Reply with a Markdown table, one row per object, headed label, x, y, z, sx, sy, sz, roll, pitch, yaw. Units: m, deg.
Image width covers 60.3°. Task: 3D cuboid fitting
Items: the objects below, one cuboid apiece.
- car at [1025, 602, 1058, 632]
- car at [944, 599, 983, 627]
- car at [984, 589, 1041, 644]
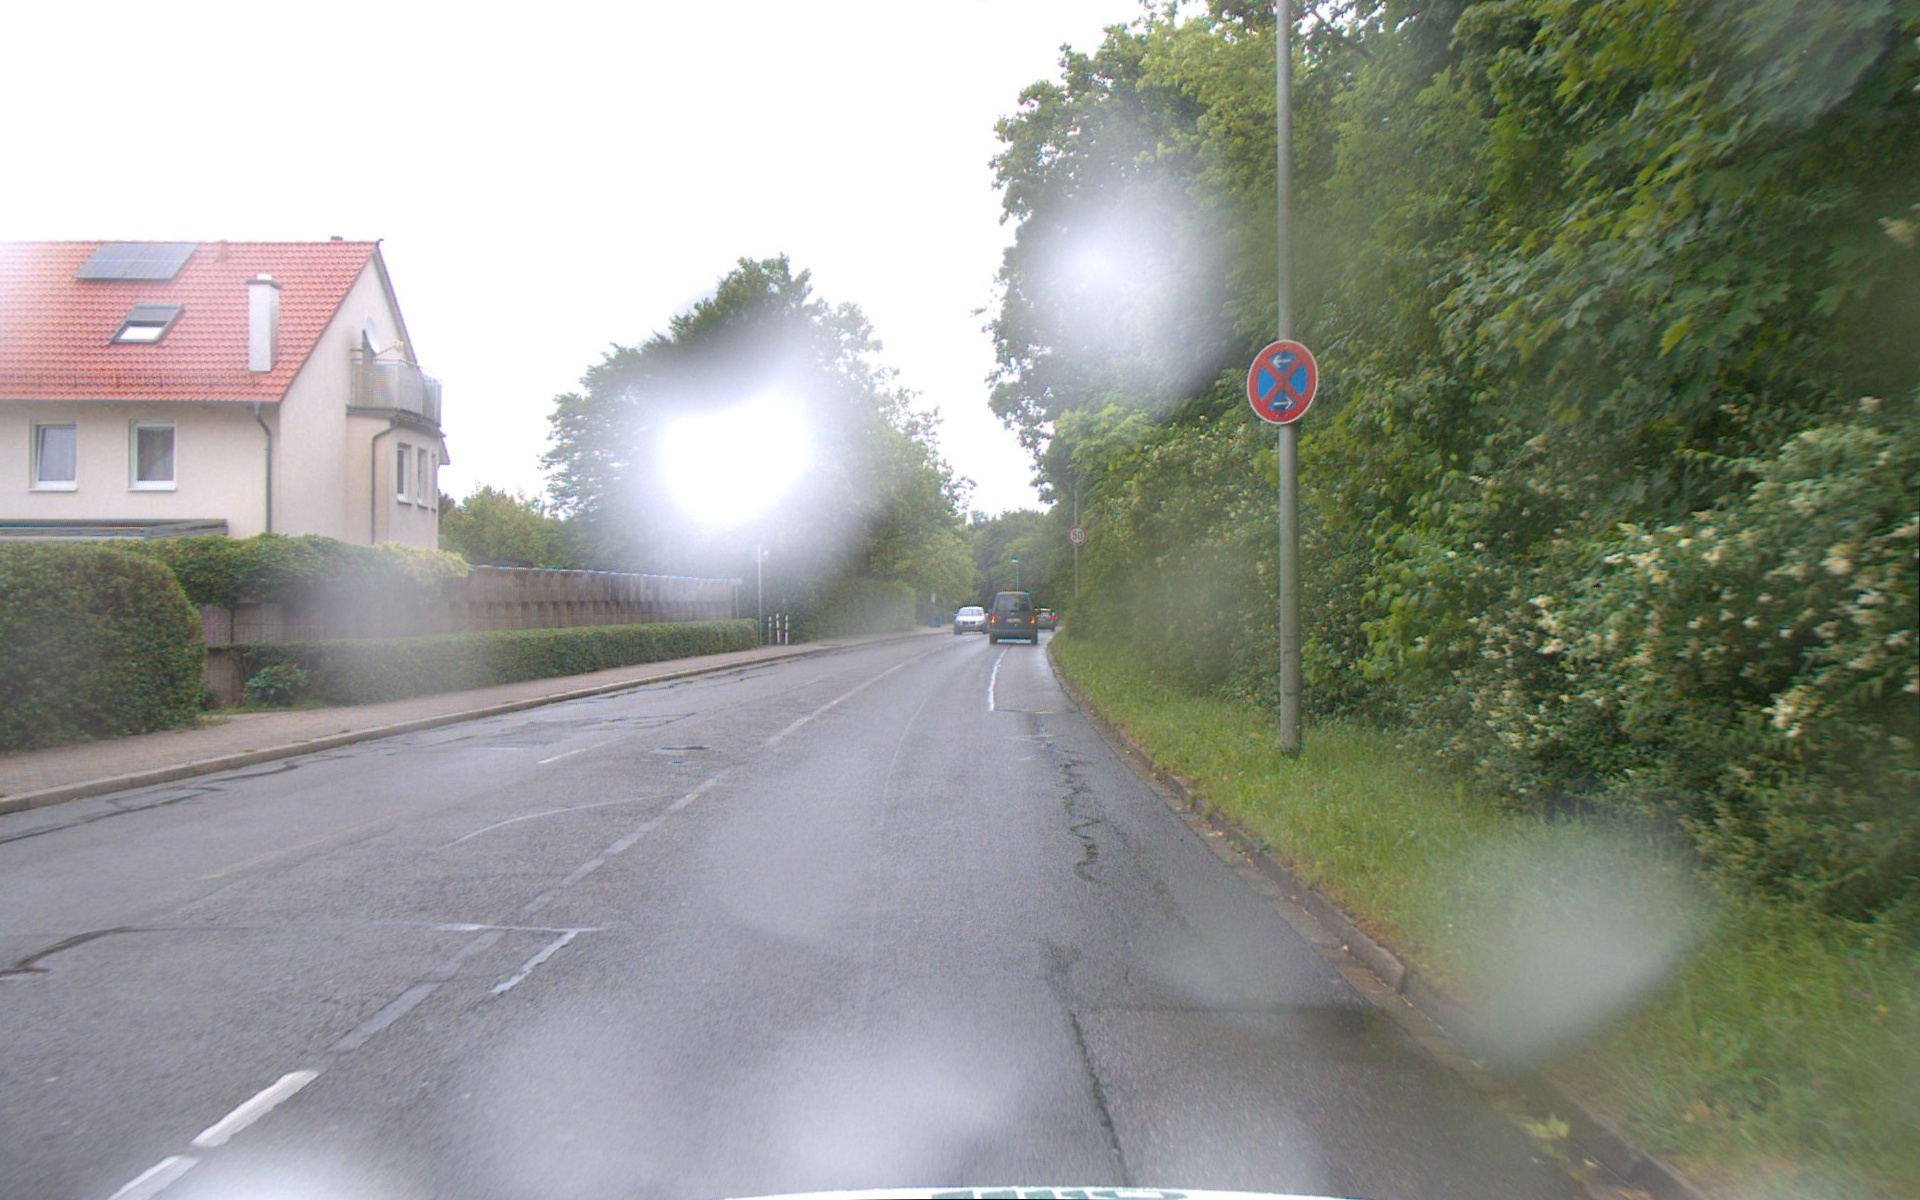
| label | x | y | z | sx | sy | sz | roll | pitch | yaw |
| --- | --- | --- | --- | --- | --- | --- | --- | --- | --- |
| car | 5.338 | 1.098 | 108.494 | 1.908 | 1.780 | 4.003 | -1 | 1 | 6 |
| car | 0.215 | 0.694 | 90.067 | 1.952 | 1.445 | 4.487 | -2 | 0 | 2 |
| car | 1.952 | 0.555 | 60.481 | 1.952 | 1.825 | 4.002 | 2 | 1 | 3 |
